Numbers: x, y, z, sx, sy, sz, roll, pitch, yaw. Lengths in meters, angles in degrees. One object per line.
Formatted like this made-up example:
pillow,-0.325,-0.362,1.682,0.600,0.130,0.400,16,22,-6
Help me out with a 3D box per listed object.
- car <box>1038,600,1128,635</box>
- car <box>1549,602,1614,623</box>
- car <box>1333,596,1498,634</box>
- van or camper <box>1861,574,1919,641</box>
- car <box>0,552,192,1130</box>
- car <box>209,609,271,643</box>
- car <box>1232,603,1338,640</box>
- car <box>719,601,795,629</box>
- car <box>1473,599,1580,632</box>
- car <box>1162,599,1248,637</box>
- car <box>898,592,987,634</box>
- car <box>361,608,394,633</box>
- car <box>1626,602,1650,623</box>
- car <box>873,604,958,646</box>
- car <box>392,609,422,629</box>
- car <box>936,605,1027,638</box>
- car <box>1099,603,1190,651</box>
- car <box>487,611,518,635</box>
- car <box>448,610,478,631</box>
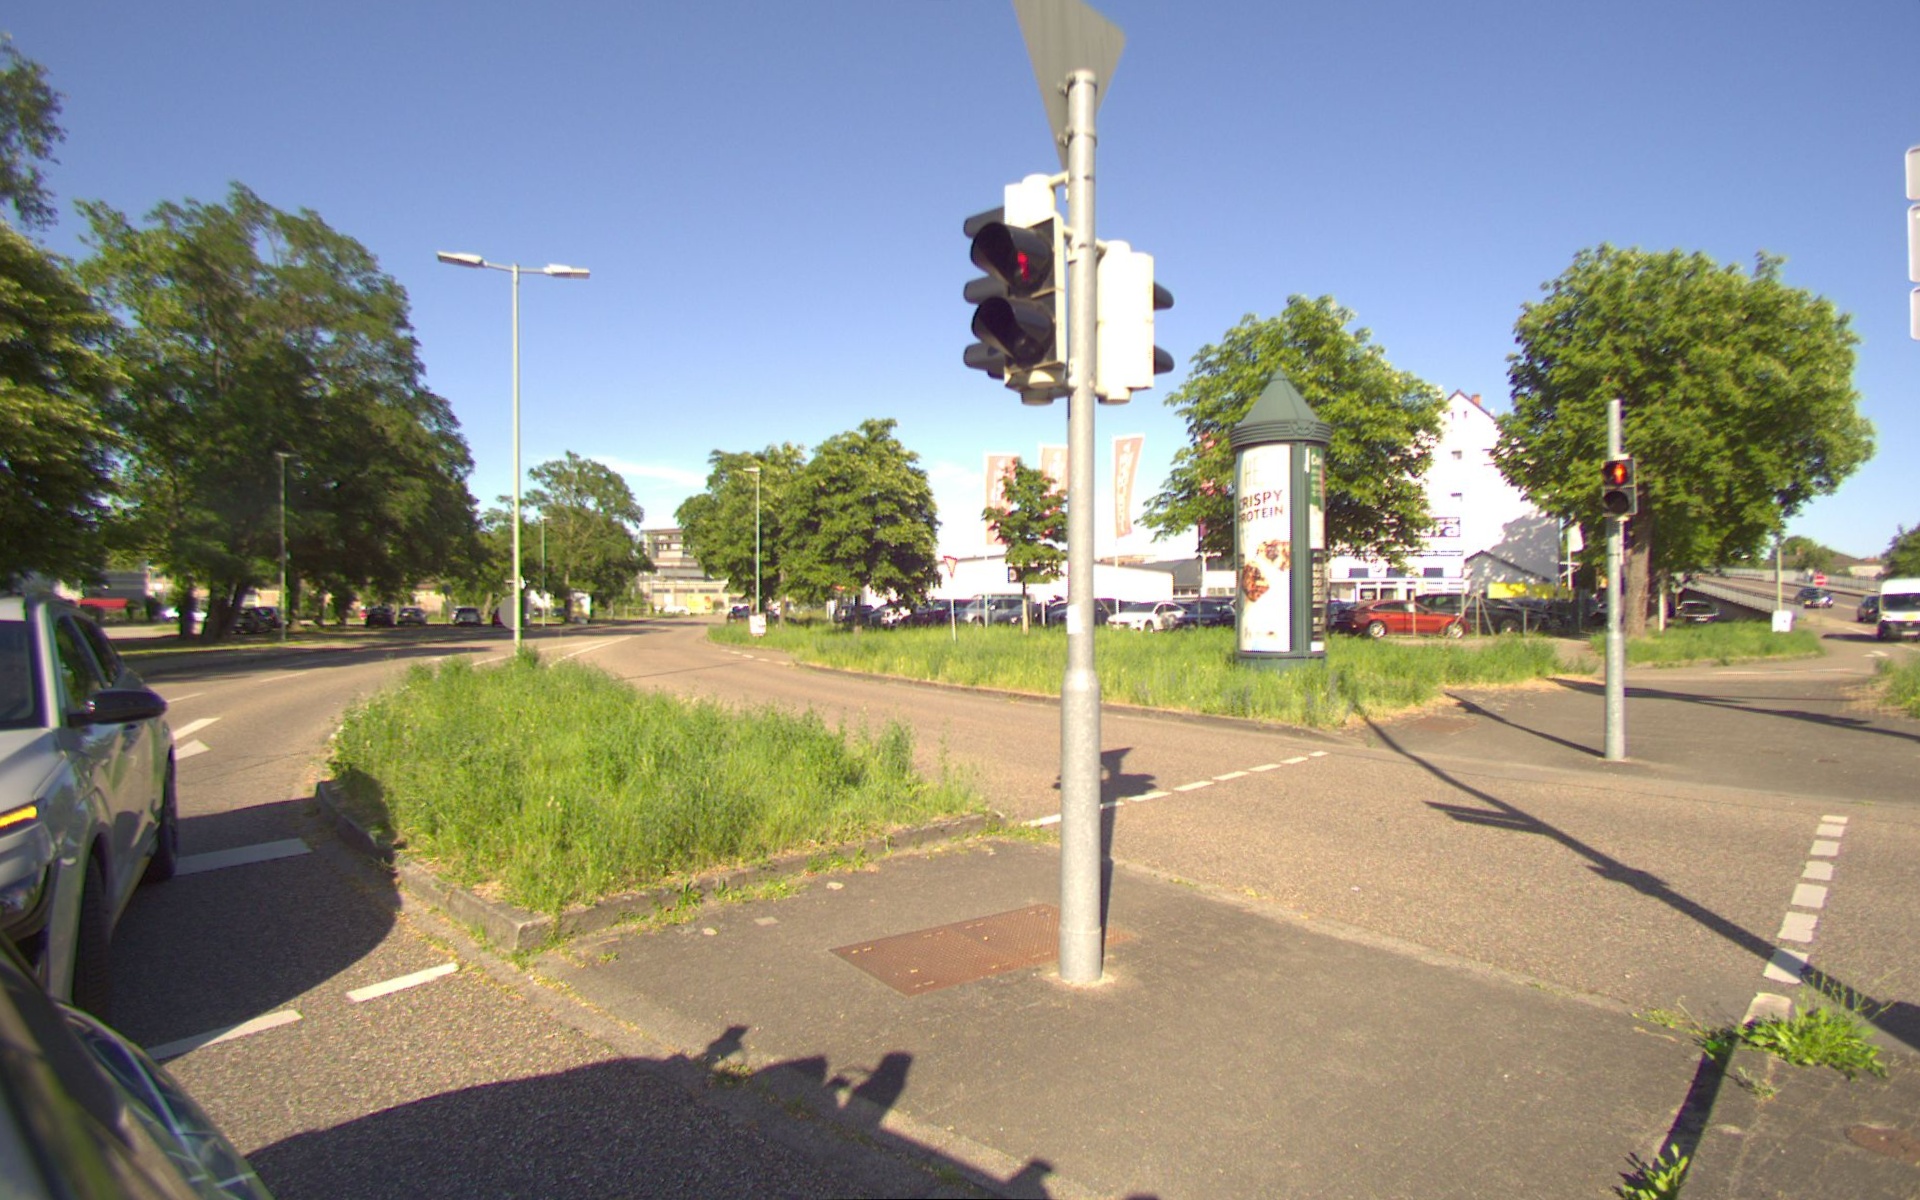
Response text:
car,5.364,0.750,43.827,1.999,1.452,3.945,-2,-1,41
car,45.964,0.905,74.855,3.623,1.521,1.782,-1,0,5
car,16.705,0.544,37.334,4.994,1.320,2.358,-1,0,4
van or camper,39.564,0.314,42.311,2.604,2.602,6.522,-3,-2,40
car,-4.465,0.661,4.206,1.687,1.658,4.066,1,0,-33
car,-40.789,1.450,57.452,1.975,1.809,4.013,-1,0,-22
car,14.058,0.922,43.870,3.998,1.517,1.808,-2,-1,41
car,-11.626,0.858,57.969,3.930,1.541,1.935,0,-1,-23
car,28.821,0.786,51.627,4.368,1.587,1.805,-1,0,15
car,9.889,0.712,40.711,1.744,1.473,3.945,-2,-1,41
car,-0.838,0.635,49.774,3.934,2.029,2.005,0,-1,-36
car,-41.291,1.425,71.786,1.708,1.631,4.013,2,-1,-26
car,67.811,1.241,101.196,1.924,2.006,4.208,-1,0,34
car,-2.264,1.230,51.997,3.935,2.029,2.004,-1,0,-37
car,-42.600,1.431,77.998,1.840,1.451,3.495,2,-1,-26
car,1.013,0.967,47.202,3.935,1.419,1.843,-1,0,-38
car,7.763,1.102,42.399,1.999,1.901,3.945,-2,-1,41
car,-34.276,1.676,75.797,1.965,1.679,4.013,2,-1,-26
car,-36.712,1.482,74.811,1.965,1.461,4.013,2,-1,-26
